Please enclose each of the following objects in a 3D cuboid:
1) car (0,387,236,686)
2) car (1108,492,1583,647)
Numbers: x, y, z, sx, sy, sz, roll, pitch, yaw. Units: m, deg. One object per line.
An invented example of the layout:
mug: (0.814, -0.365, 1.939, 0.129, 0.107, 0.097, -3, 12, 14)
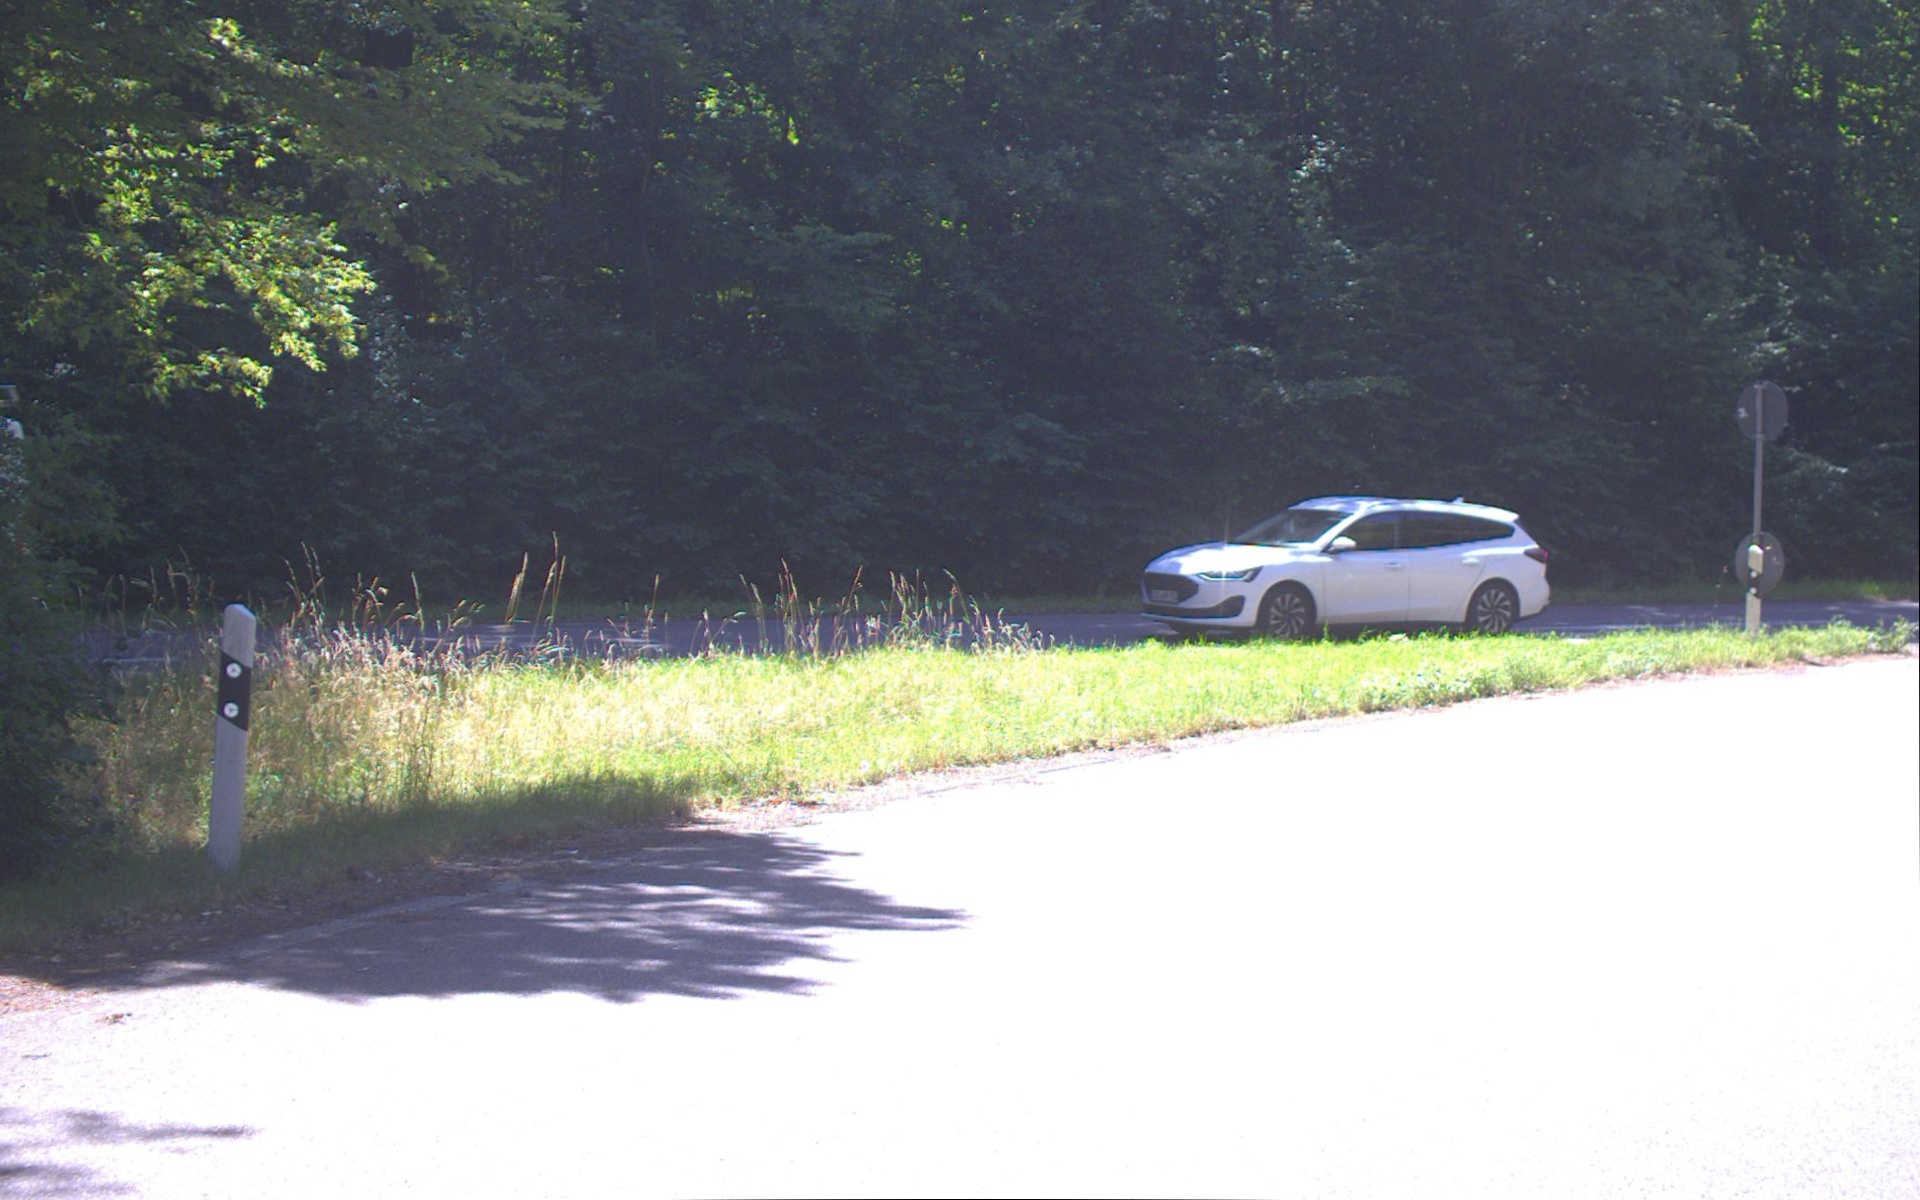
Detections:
car: (-8.766, -0.541, 27.569, 5.409, 2.338, 2.068, -1, 5, -33)
car: (4.070, -0.368, 35.990, 4.854, 1.447, 1.761, -1, 5, -32)
